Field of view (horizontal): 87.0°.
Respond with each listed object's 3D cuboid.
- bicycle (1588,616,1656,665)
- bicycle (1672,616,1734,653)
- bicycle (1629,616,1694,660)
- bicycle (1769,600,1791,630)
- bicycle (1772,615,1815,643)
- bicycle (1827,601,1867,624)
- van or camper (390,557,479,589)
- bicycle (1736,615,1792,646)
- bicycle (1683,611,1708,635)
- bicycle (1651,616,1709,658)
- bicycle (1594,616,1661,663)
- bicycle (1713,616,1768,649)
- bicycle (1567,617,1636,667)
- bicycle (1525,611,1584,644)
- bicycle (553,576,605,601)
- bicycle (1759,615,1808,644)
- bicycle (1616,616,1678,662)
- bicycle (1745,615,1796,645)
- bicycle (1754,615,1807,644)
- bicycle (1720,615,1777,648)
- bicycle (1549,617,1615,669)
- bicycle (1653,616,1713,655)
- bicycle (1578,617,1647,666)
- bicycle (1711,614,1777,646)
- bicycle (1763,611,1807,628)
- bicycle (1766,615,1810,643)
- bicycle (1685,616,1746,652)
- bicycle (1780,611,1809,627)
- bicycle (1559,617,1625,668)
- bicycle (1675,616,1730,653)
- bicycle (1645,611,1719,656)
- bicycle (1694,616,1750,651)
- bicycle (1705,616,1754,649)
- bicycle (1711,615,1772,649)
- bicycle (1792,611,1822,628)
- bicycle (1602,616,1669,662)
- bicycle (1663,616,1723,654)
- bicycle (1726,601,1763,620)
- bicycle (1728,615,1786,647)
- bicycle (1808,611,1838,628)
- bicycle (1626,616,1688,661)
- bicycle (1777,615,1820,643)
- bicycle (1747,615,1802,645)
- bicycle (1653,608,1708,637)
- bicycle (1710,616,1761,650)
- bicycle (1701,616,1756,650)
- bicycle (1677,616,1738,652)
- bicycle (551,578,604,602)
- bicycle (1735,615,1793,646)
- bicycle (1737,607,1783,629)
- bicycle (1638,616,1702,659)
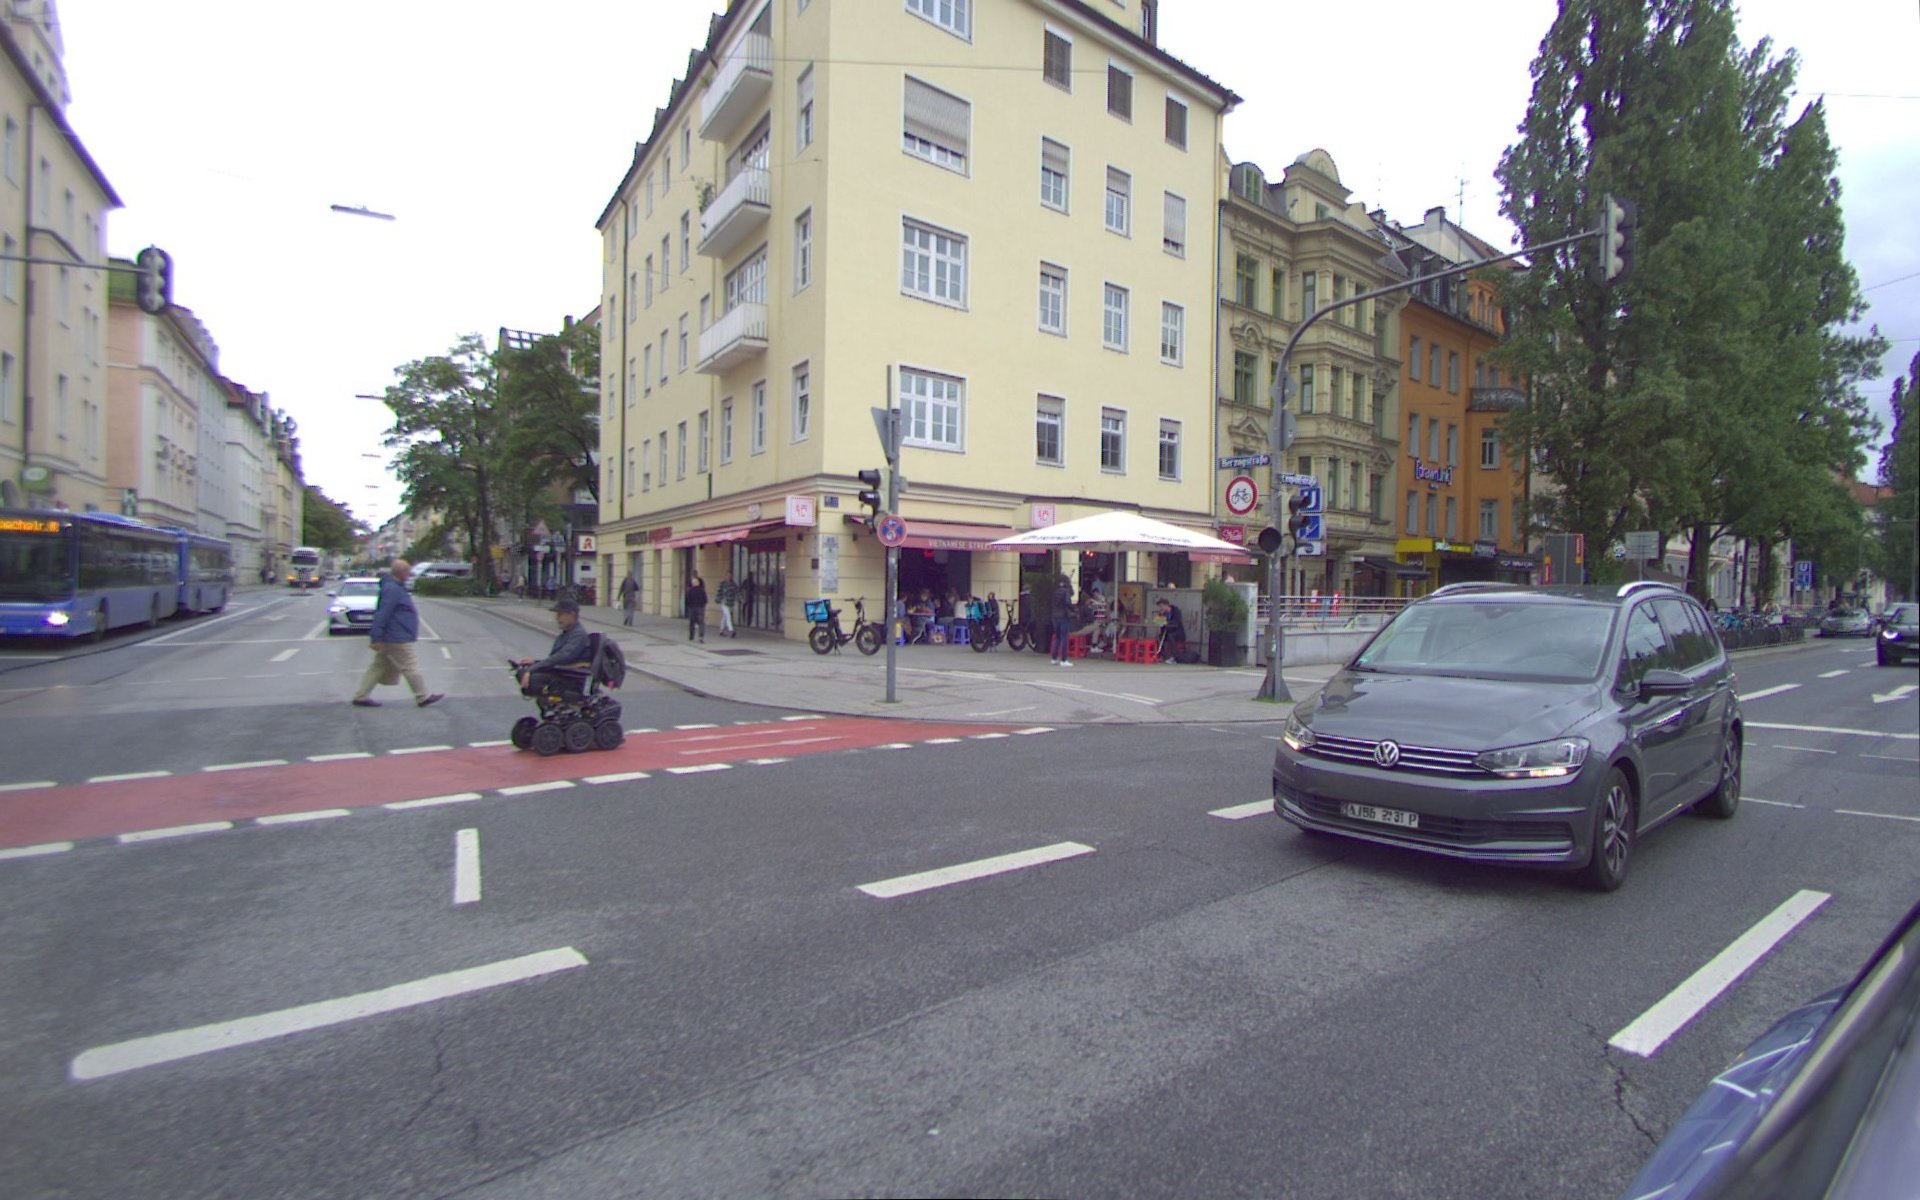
[{"bbox_3d":[15.627,0.939,23.945,0.341,1.008,1.843,1,2,-1],"label":"bicycle"},{"bbox_3d":[21.517,0.987,29.363,0.319,1.008,1.843,2,-1,-4],"label":"bicycle"},{"bbox_3d":[18.211,0.959,26.305,0.341,1.008,1.843,1,2,-1],"label":"bicycle"},{"bbox_3d":[36.560,0.647,45.091,1.747,1.304,0.424,0,1,-40],"label":"bicycle"},{"bbox_3d":[30.829,1.051,37.459,0.369,1.008,1.836,1,-1,10],"label":"bicycle"},{"bbox_3d":[46.020,0.638,52.520,0.352,1.116,1.747,1,1,-6],"label":"bicycle"},{"bbox_3d":[-41.368,-2.103,79.844,1.985,2.306,6.065,2,1,32],"label":"van or camper"},{"bbox_3d":[27.618,1.031,34.791,0.368,1.008,1.843,2,-1,-4],"label":"bicycle"},{"bbox_3d":[30.122,0.932,41.455,1.861,0.903,0.457,0,1,-42],"label":"bicycle"},{"bbox_3d":[19.317,0.966,27.187,0.319,1.008,1.841,1,1,3],"label":"bicycle"},{"bbox_3d":[16.161,0.944,24.543,0.341,1.008,1.843,1,2,-1],"label":"bicycle"},{"bbox_3d":[24.674,1.007,32.025,0.319,1.008,1.841,2,-1,2],"label":"bicycle"},{"bbox_3d":[14.618,0.933,23.103,0.341,1.008,1.843,1,2,-1],"label":"bicycle"},{"bbox_3d":[20.458,0.945,34.855,1.722,1.059,0.381,1,-1,44],"label":"bicycle"},{"bbox_3d":[-19.825,-0.600,52.713,2.429,1.257,0.757,1,0,-14],"label":"bicycle"},{"bbox_3d":[29.722,1.044,36.549,0.368,1.008,1.840,1,-1,4],"label":"bicycle"},{"bbox_3d":[17.199,0.952,25.361,0.341,1.008,1.841,1,2,3],"label":"bicycle"},{"bbox_3d":[28.188,1.034,35.239,0.368,1.008,1.840,2,-1,3],"label":"bicycle"},{"bbox_3d":[29.193,1.040,36.034,0.368,1.008,1.841,2,-1,1],"label":"bicycle"},{"bbox_3d":[25.581,1.014,32.877,0.319,1.008,1.843,2,-1,-4],"label":"bicycle"},{"bbox_3d":[13.622,0.926,22.222,0.341,1.008,1.841,1,2,2],"label":"bicycle"},{"bbox_3d":[20.216,0.976,28.340,0.319,1.008,1.842,2,-1,-1],"label":"bicycle"},{"bbox_3d":[15.122,0.936,23.518,0.341,1.008,1.843,1,2,-1],"label":"bicycle"},{"bbox_3d":[25.972,0.974,33.546,0.367,1.008,1.846,2,-1,-16],"label":"bicycle"},{"bbox_3d":[45.649,1.069,56.008,0.385,0.928,1.837,0,0,-39],"label":"bicycle"},{"bbox_3d":[30.250,1.047,36.981,0.369,1.008,1.836,1,-1,10],"label":"bicycle"},{"bbox_3d":[22.542,0.994,30.238,0.319,1.008,1.843,2,-1,-4],"label":"bicycle"},{"bbox_3d":[51.858,1.177,62.872,1.801,1.036,0.393,0,0,-14],"label":"bicycle"},{"bbox_3d":[14.114,0.929,22.653,0.341,1.008,1.841,1,2,2],"label":"bicycle"},{"bbox_3d":[21.267,0.980,29.027,0.319,1.008,1.840,1,-1,4],"label":"bicycle"},{"bbox_3d":[19.754,0.900,27.740,0.457,1.126,1.845,2,1,-8],"label":"bicycle"},{"bbox_3d":[23.079,0.997,30.685,0.319,1.008,1.841,2,-1,2],"label":"bicycle"},{"bbox_3d":[24.282,1.008,31.956,0.319,1.008,1.838,1,-1,6],"label":"bicycle"},{"bbox_3d":[25.092,1.012,32.522,0.318,1.008,1.845,2,-1,-9],"label":"bicycle"},{"bbox_3d":[52.195,1.182,62.356,1.801,1.036,0.447,0,0,-14],"label":"bicycle"},{"bbox_3d":[16.643,0.947,24.969,0.341,1.008,1.843,1,2,-1],"label":"bicycle"},{"bbox_3d":[20.714,0.977,28.627,0.319,1.008,1.842,2,-1,-1],"label":"bicycle"},{"bbox_3d":[50.286,0.671,64.878,1.854,1.169,0.464,0,0,8],"label":"bicycle"},{"bbox_3d":[26.630,1.023,33.853,0.368,1.008,1.843,2,-1,-4],"label":"bicycle"},{"bbox_3d":[52.700,1.167,61.816,1.801,1.036,0.447,0,0,-14],"label":"bicycle"},{"bbox_3d":[17.747,0.955,25.805,0.341,1.008,1.841,1,2,3],"label":"bicycle"},{"bbox_3d":[31.333,1.053,37.838,0.369,1.008,1.836,1,-1,10],"label":"bicycle"},{"bbox_3d":[28.651,1.037,35.639,0.368,1.008,1.843,2,-1,-3],"label":"bicycle"},{"bbox_3d":[31.657,0.996,44.481,0.571,1.188,1.892,1,1,-38],"label":"bicycle"},{"bbox_3d":[23.970,1.001,31.296,0.319,1.008,1.839,1,-1,6],"label":"bicycle"},{"bbox_3d":[23.573,1.000,31.093,0.319,1.008,1.841,2,-1,2],"label":"bicycle"},{"bbox_3d":[22.056,0.992,29.895,0.319,1.008,1.843,2,-1,-4],"label":"bicycle"},{"bbox_3d":[-19.563,-0.514,51.784,2.429,1.204,0.757,1,0,-14],"label":"bicycle"},{"bbox_3d":[27.218,1.026,34.294,0.368,1.008,1.843,2,-1,-4],"label":"bicycle"},{"bbox_3d":[41.497,0.934,52.483,0.439,1.124,1.801,1,-2,-38],"label":"bicycle"},{"bbox_3d":[18.718,0.962,26.718,0.341,1.008,1.843,1,2,-1],"label":"bicycle"}]
